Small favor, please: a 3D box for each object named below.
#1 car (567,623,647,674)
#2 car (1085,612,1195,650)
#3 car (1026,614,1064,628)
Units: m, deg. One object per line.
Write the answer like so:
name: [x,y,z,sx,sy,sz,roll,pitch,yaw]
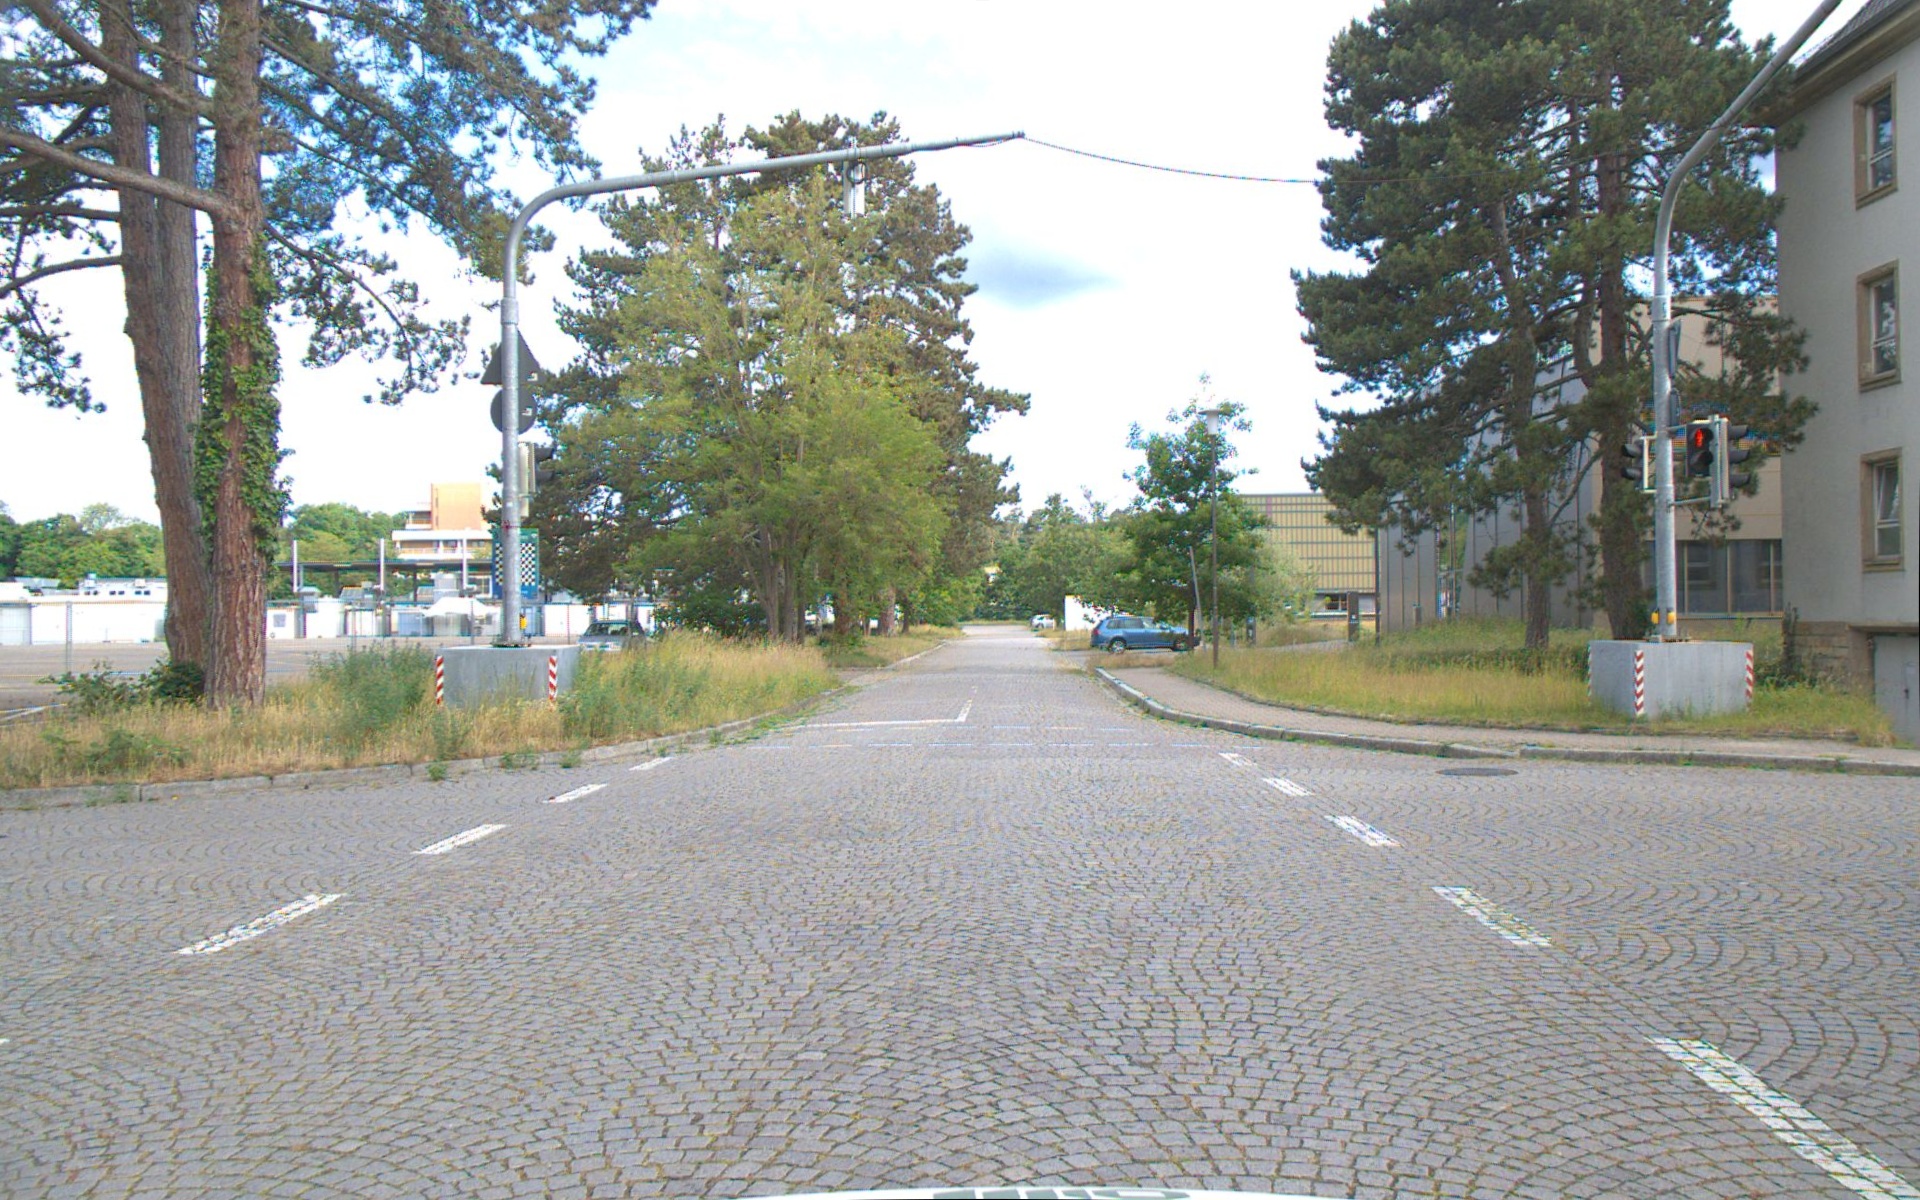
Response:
car: [-11.244,1.512,52.892,1.579,1.513,4.001,-1,0,1]
car: [7.295,1.262,67.346,4.255,1.447,2.000,-1,0,-1]
car: [9.472,2.339,184.420,3.908,1.422,1.998,-1,0,-4]
